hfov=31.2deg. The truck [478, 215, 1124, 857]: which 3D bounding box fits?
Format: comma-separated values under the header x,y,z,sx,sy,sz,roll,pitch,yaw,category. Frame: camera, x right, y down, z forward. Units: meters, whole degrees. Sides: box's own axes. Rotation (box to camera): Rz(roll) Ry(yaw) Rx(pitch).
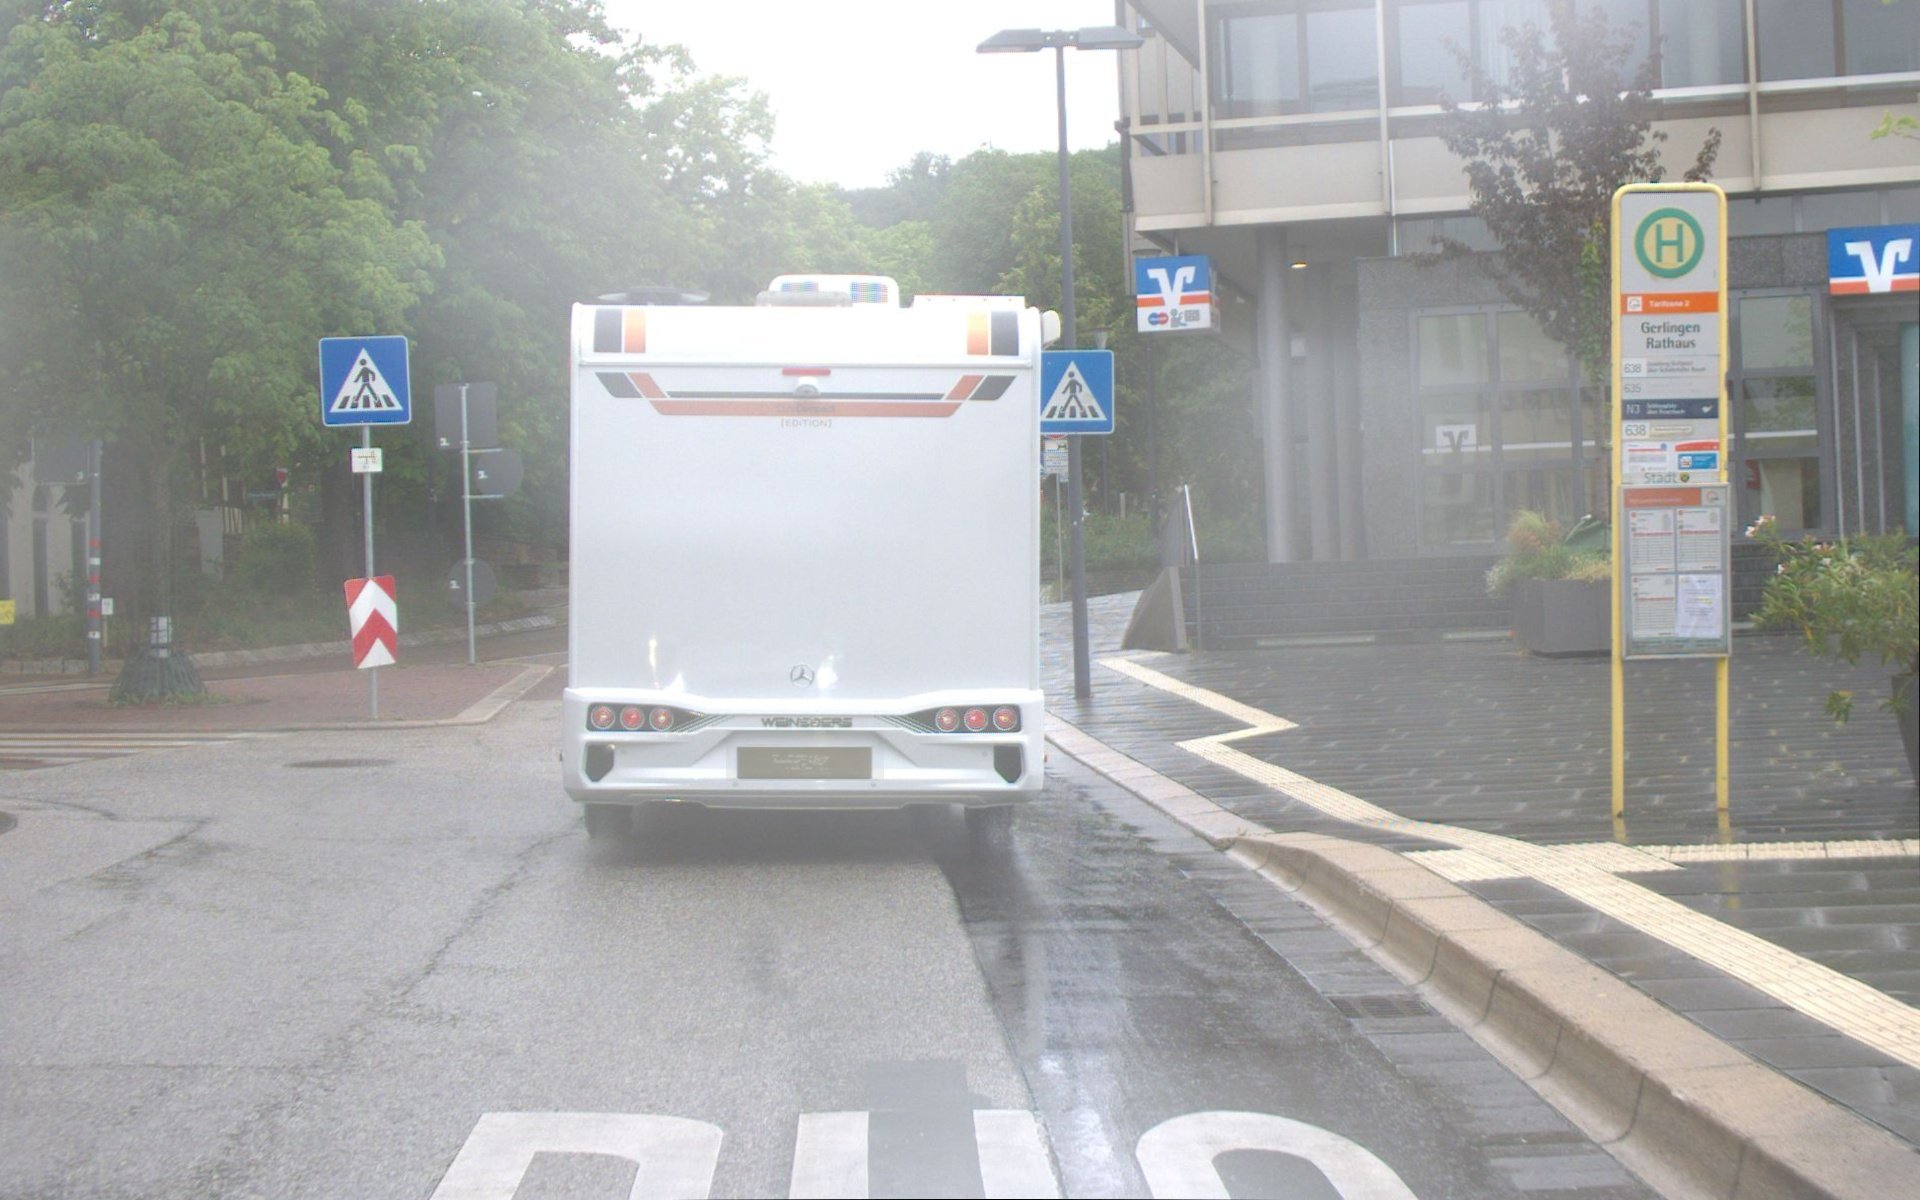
x,y,z,sx,sy,sz,roll,pitch,yaw,category
-0.870,-0.295,18.746,2.805,2.787,6.107,-3,0,-3,truck
